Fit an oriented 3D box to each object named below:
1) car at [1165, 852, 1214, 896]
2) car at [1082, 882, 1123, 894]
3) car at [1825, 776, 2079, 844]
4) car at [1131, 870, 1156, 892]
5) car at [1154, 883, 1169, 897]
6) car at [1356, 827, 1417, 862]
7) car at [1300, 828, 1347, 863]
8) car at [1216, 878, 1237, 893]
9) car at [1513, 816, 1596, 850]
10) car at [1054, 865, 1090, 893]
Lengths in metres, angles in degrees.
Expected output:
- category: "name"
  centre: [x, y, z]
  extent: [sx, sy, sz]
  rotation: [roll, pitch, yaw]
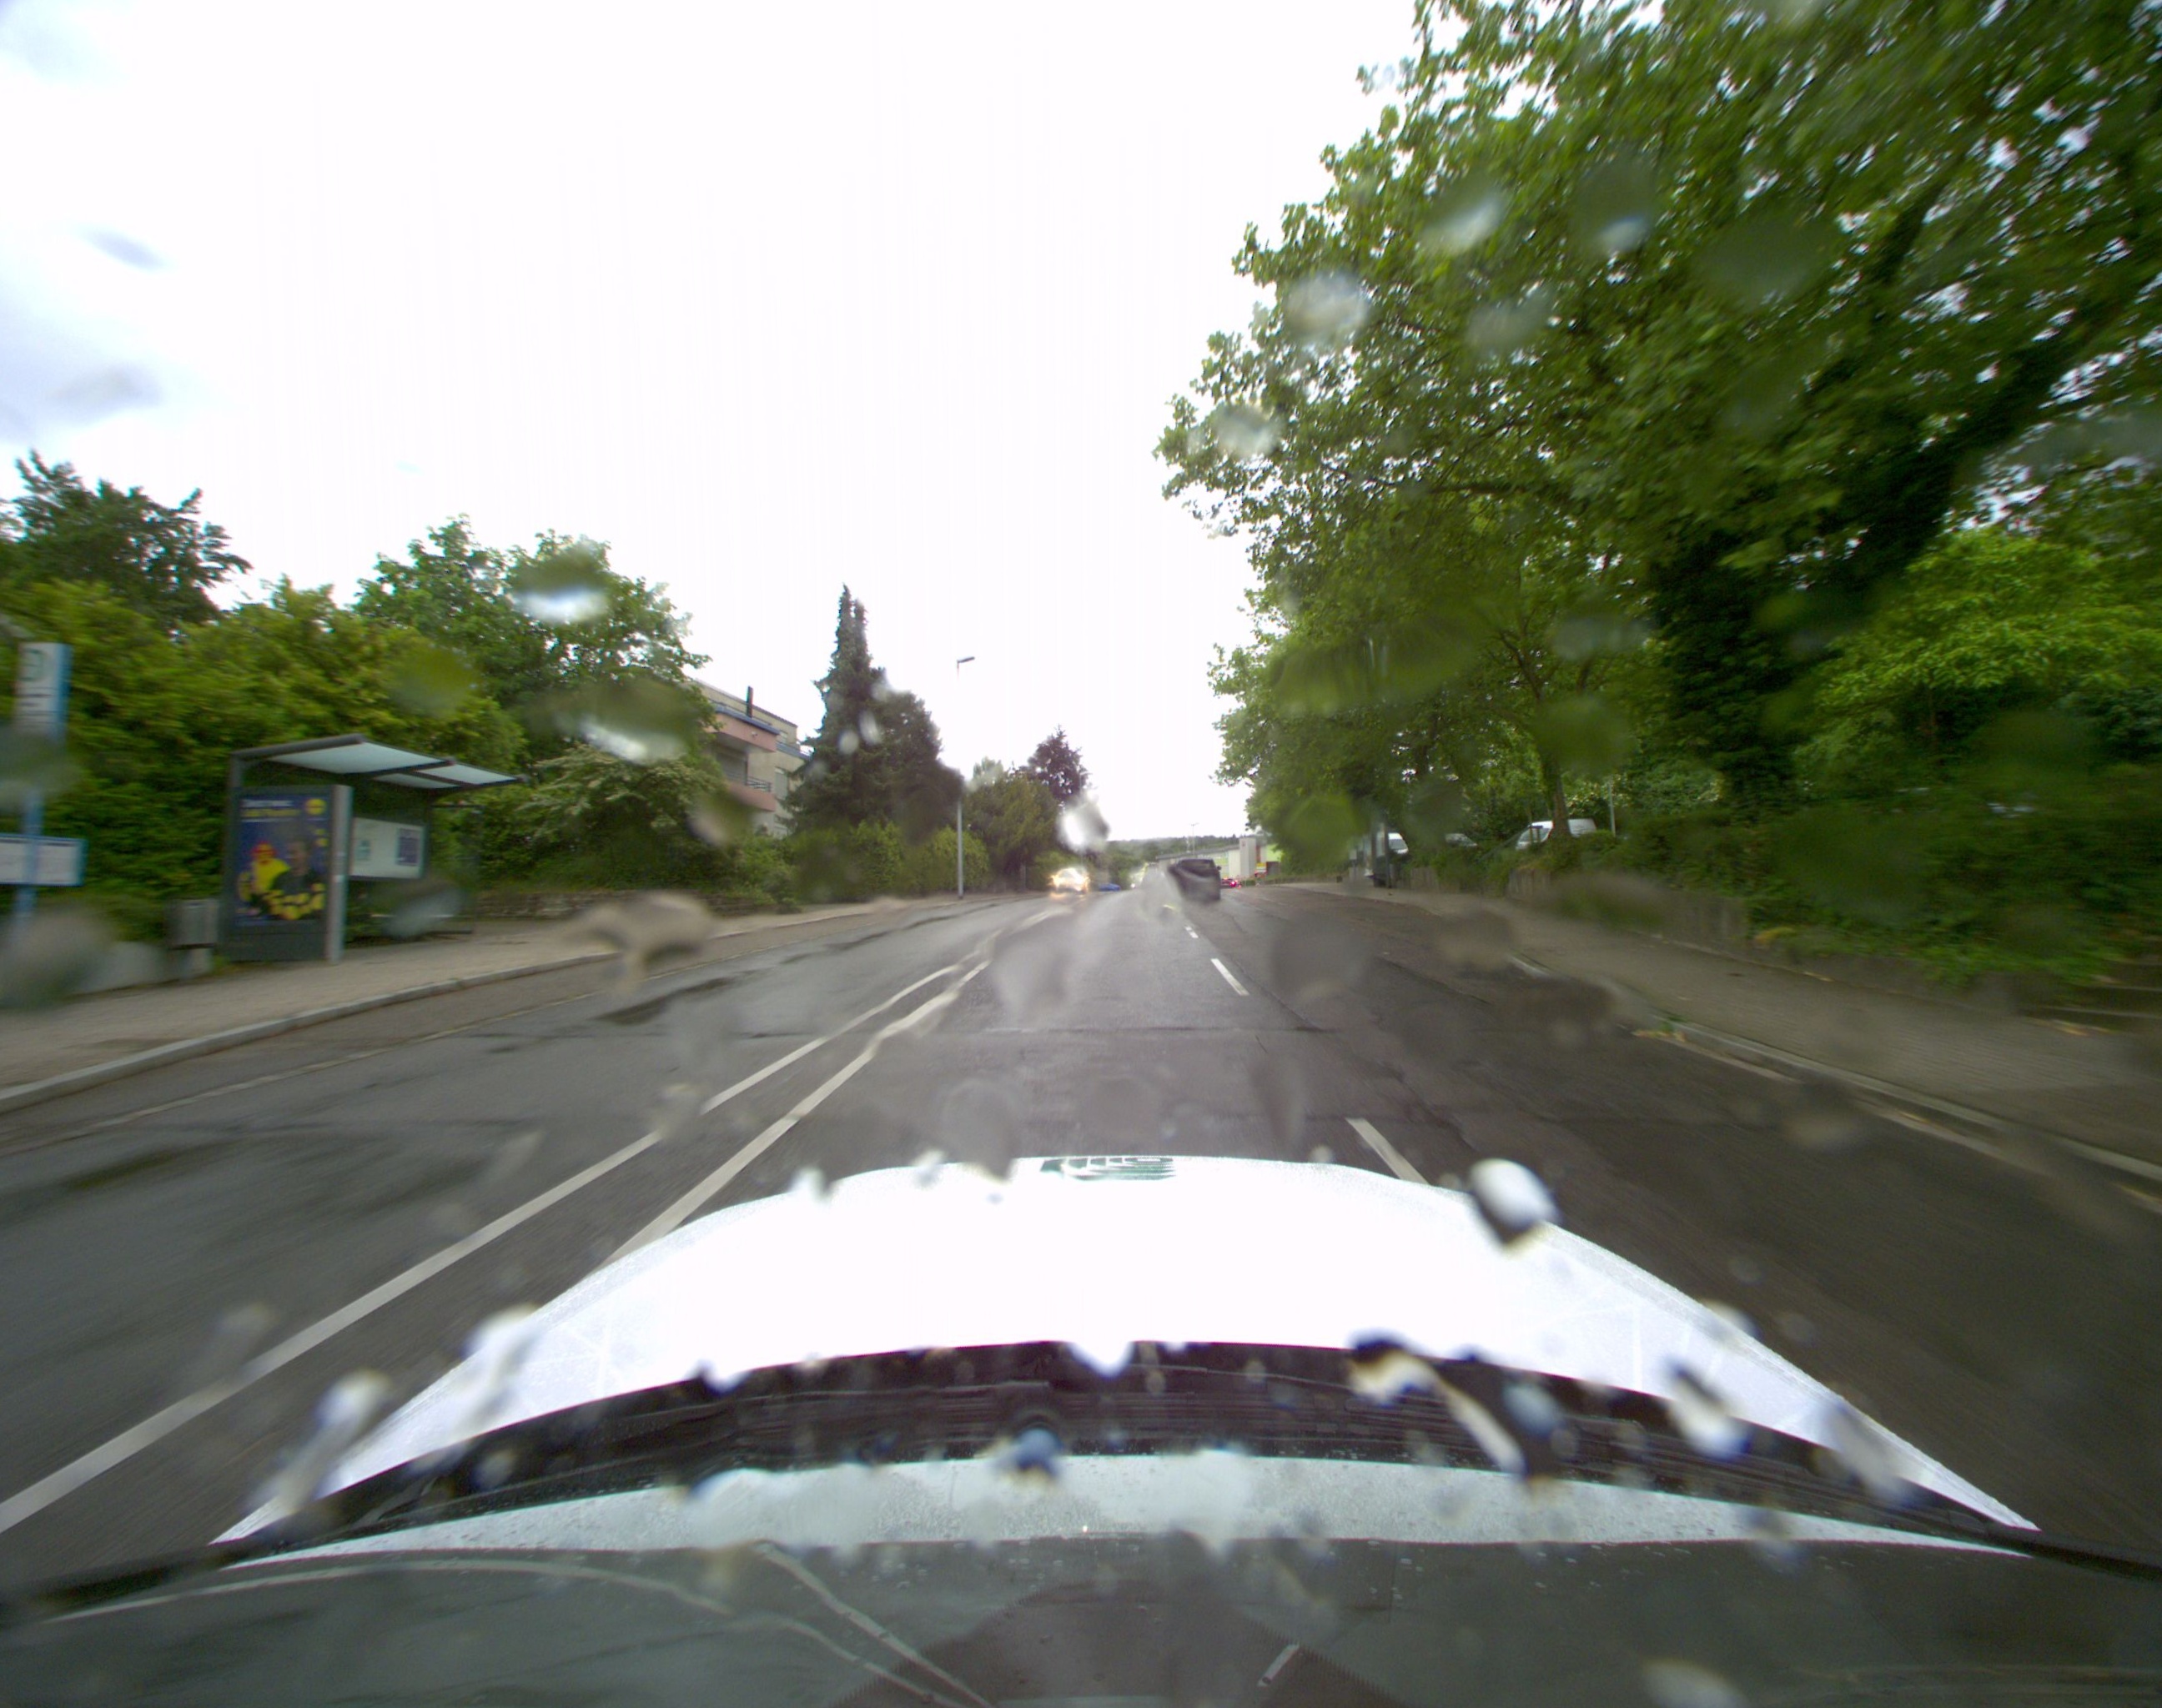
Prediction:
- category: "car"
  centre: [4.188, 0.736, 31.897]
  extent: [1.781, 1.603, 4.260]
  rotation: [0, 0, 6]
- category: "car"
  centre: [2.392, 3.849, 91.753]
  extent: [4.459, 1.362, 1.808]
  rotation: [0, -2, 6]
- category: "car"
  centre: [21.276, -0.998, 20.189]
  extent: [1.888, 1.453, 4.172]
  rotation: [1, 0, 1]
- category: "car"
  centre: [6.038, 2.604, 78.323]
  extent: [1.852, 1.917, 5.041]
  rotation: [-4, -2, 9]
- category: "car"
  centre: [10.458, 4.646, 105.652]
  extent: [1.691, 1.708, 3.986]
  rotation: [1, -3, 8]
- category: "car"
  centre: [20.444, -0.611, 54.762]
  extent: [2.039, 2.284, 5.014]
  rotation: [0, 0, -2]
- category: "car"
  centre: [16.481, -0.572, 55.586]
  extent: [1.986, 2.226, 4.134]
  rotation: [-1, 0, 1]
- category: "car"
  centre: [14.955, 3.225, 83.847]
  extent: [1.982, 1.442, 4.008]
  rotation: [0, -2, 8]
- category: "car"
  centre: [29.708, -1.257, 51.091]
  extent: [5.214, 2.013, 1.982]
  rotation: [0, 0, -27]
- category: "car"
  centre: [-0.482, 1.382, 45.539]
  extent: [1.677, 1.454, 3.402]
  rotation: [-1, -1, 4]
